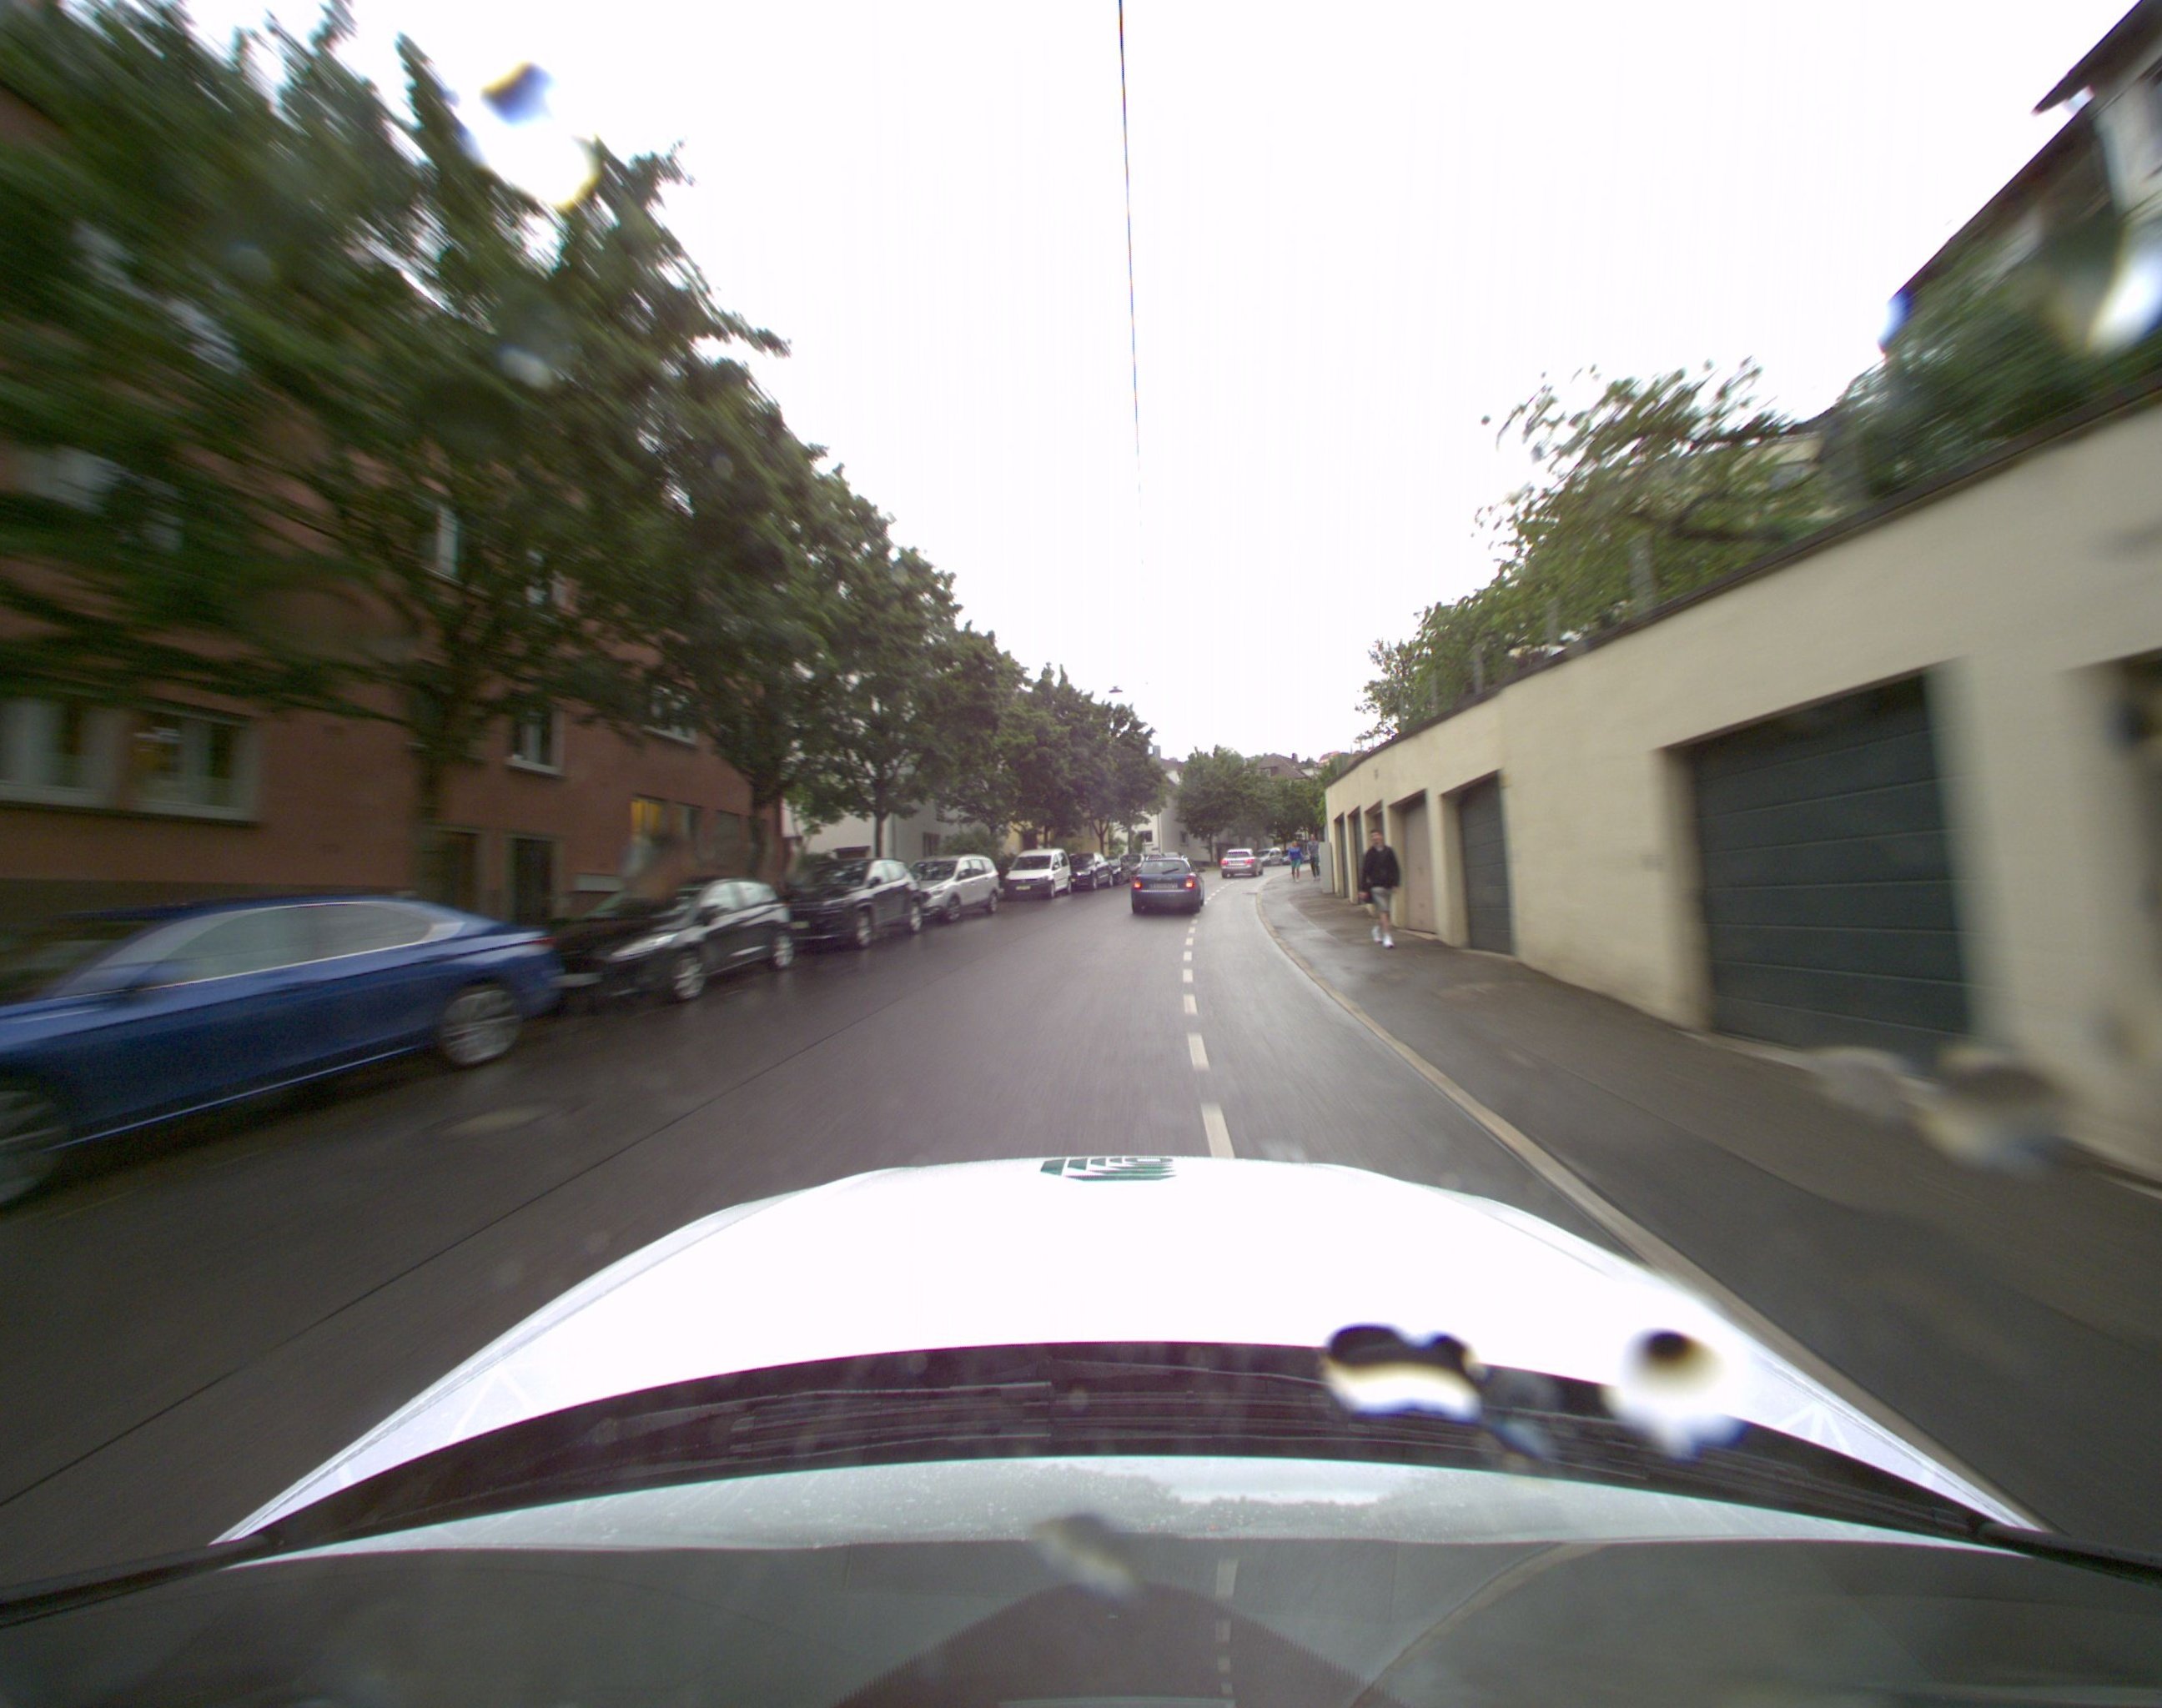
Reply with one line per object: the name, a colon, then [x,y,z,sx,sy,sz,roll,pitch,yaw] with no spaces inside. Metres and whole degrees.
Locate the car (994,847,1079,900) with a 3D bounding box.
car: [-1.580,0.674,30.735,1.840,1.777,4.500,-2,0,14]

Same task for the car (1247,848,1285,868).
car: [17.179,0.380,75.393,1.767,1.646,4.373,-8,-4,35]

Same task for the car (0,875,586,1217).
car: [-5.808,0.986,5.271,1.778,1.493,4.871,-2,0,7]

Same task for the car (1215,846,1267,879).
car: [8.463,0.416,42.709,1.933,1.561,4.286,-1,1,21]

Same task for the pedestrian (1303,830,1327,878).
pedestrian: [9.290,0.015,32.357,0.770,1.832,1.256,-4,-1,14]

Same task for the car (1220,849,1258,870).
car: [13.702,0.493,70.383,1.767,1.514,4.372,-7,-4,30]

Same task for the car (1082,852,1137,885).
car: [1.493,0.689,40.998,1.841,1.498,4.758,-2,0,13]

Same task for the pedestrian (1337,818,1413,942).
pedestrian: [4.561,0.398,12.697,0.894,1.850,0.805,-2,-1,8]

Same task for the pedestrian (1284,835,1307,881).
pedestrian: [8.584,0.166,32.583,0.769,1.758,1.015,-4,-1,13]

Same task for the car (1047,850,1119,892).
car: [0.186,0.683,36.041,1.839,1.668,4.608,-3,-1,17]

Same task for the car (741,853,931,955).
car: [-4.518,0.839,15.831,1.777,1.641,4.490,-2,0,8]

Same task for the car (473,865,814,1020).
car: [-5.271,0.948,10.634,1.779,1.493,4.367,-2,0,4]

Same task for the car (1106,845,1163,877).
car: [3.120,0.368,46.390,1.837,1.690,4.580,-2,0,22]

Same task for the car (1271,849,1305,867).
car: [20.312,0.380,79.871,1.787,1.486,4.263,-7,-4,34]

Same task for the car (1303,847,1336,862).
car: [24.605,0.031,83.824,1.787,1.453,4.626,-3,-2,35]

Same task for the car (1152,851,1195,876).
car: [6.420,0.627,55.921,1.760,1.540,4.540,-2,-1,21]

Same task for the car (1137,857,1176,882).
car: [4.776,0.936,51.338,1.601,1.396,4.341,-3,0,16]

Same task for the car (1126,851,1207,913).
car: [2.401,0.685,21.933,1.843,1.414,4.372,-4,-1,9]

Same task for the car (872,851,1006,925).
car: [-3.619,0.812,21.731,1.734,1.690,4.617,-2,0,14]
